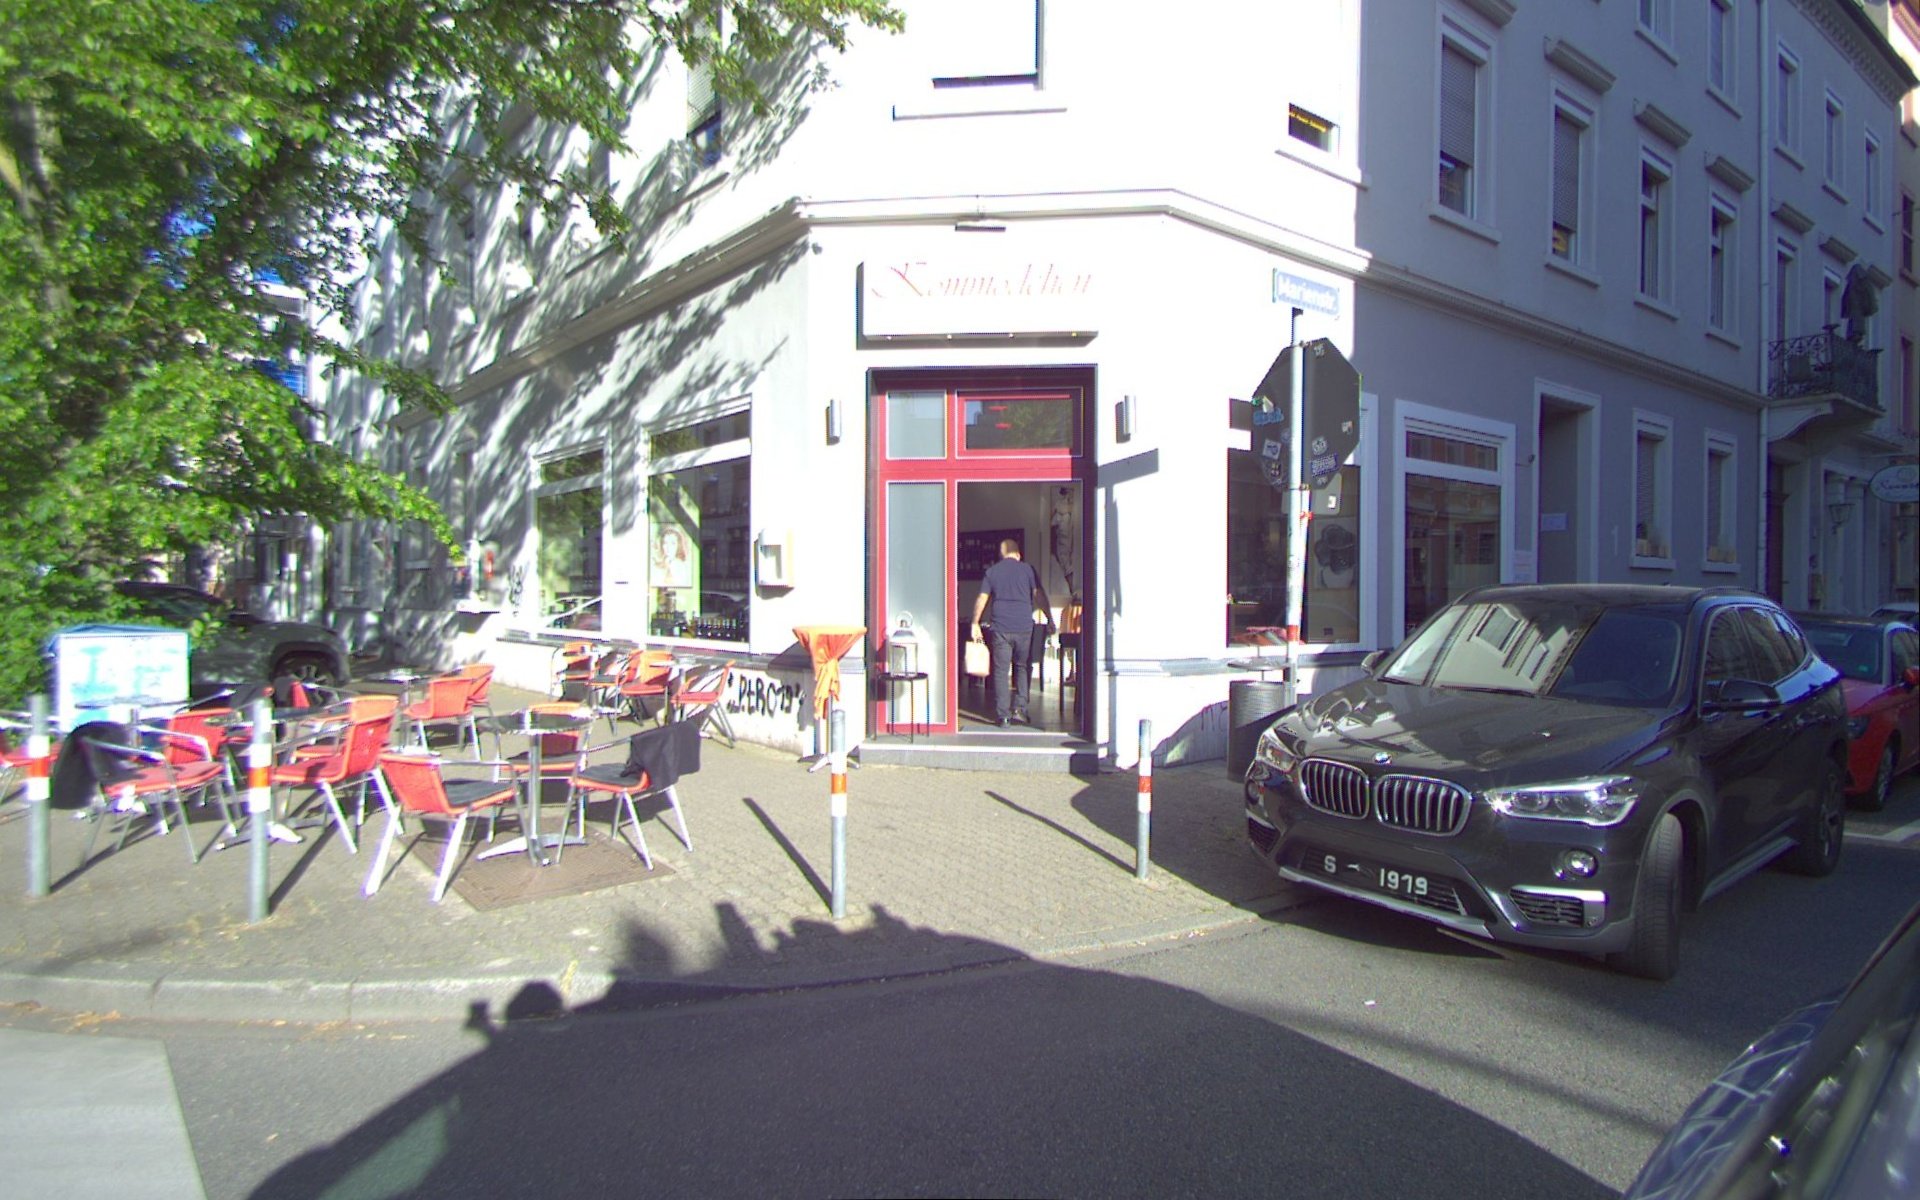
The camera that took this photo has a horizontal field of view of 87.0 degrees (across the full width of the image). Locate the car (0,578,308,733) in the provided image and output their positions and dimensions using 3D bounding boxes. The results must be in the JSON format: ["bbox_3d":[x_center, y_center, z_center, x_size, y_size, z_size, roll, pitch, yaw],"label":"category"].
[{"bbox_3d":[-10.462,0.552,12.455,1.597,1.575,4.117,1,2,15],"label":"car"}]

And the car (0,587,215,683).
[{"bbox_3d":[-16.012,0.576,18.058,1.609,1.506,4.088,1,2,33],"label":"car"}]

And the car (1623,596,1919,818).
[{"bbox_3d":[7.476,0.748,8.796,3.881,1.522,1.649,0,-1,-37],"label":"car"}]

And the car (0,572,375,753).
[{"bbox_3d":[-8.668,0.515,10.764,1.602,1.575,4.104,1,2,23],"label":"car"}]

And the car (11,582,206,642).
[{"bbox_3d":[-24.278,0.275,29.048,1.597,1.506,4.117,1,2,15],"label":"car"}]

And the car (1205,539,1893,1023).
[{"bbox_3d":[3.375,0.644,5.493,4.119,1.683,1.765,0,-1,-37],"label":"car"}]

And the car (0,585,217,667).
[{"bbox_3d":[-18.214,0.481,21.176,1.614,1.506,4.074,2,3,42],"label":"car"}]

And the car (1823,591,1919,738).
[{"bbox_3d":[11.993,0.702,12.198,3.718,1.607,1.640,0,-1,-37],"label":"car"}]

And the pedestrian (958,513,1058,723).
[{"bbox_3d":[0.445,0.149,9.238,0.849,1.822,0.851,1,0,4],"label":"pedestrian"}]

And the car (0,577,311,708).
[{"bbox_3d":[-11.883,0.495,14.510,1.605,1.575,4.096,1,2,28],"label":"car"}]
